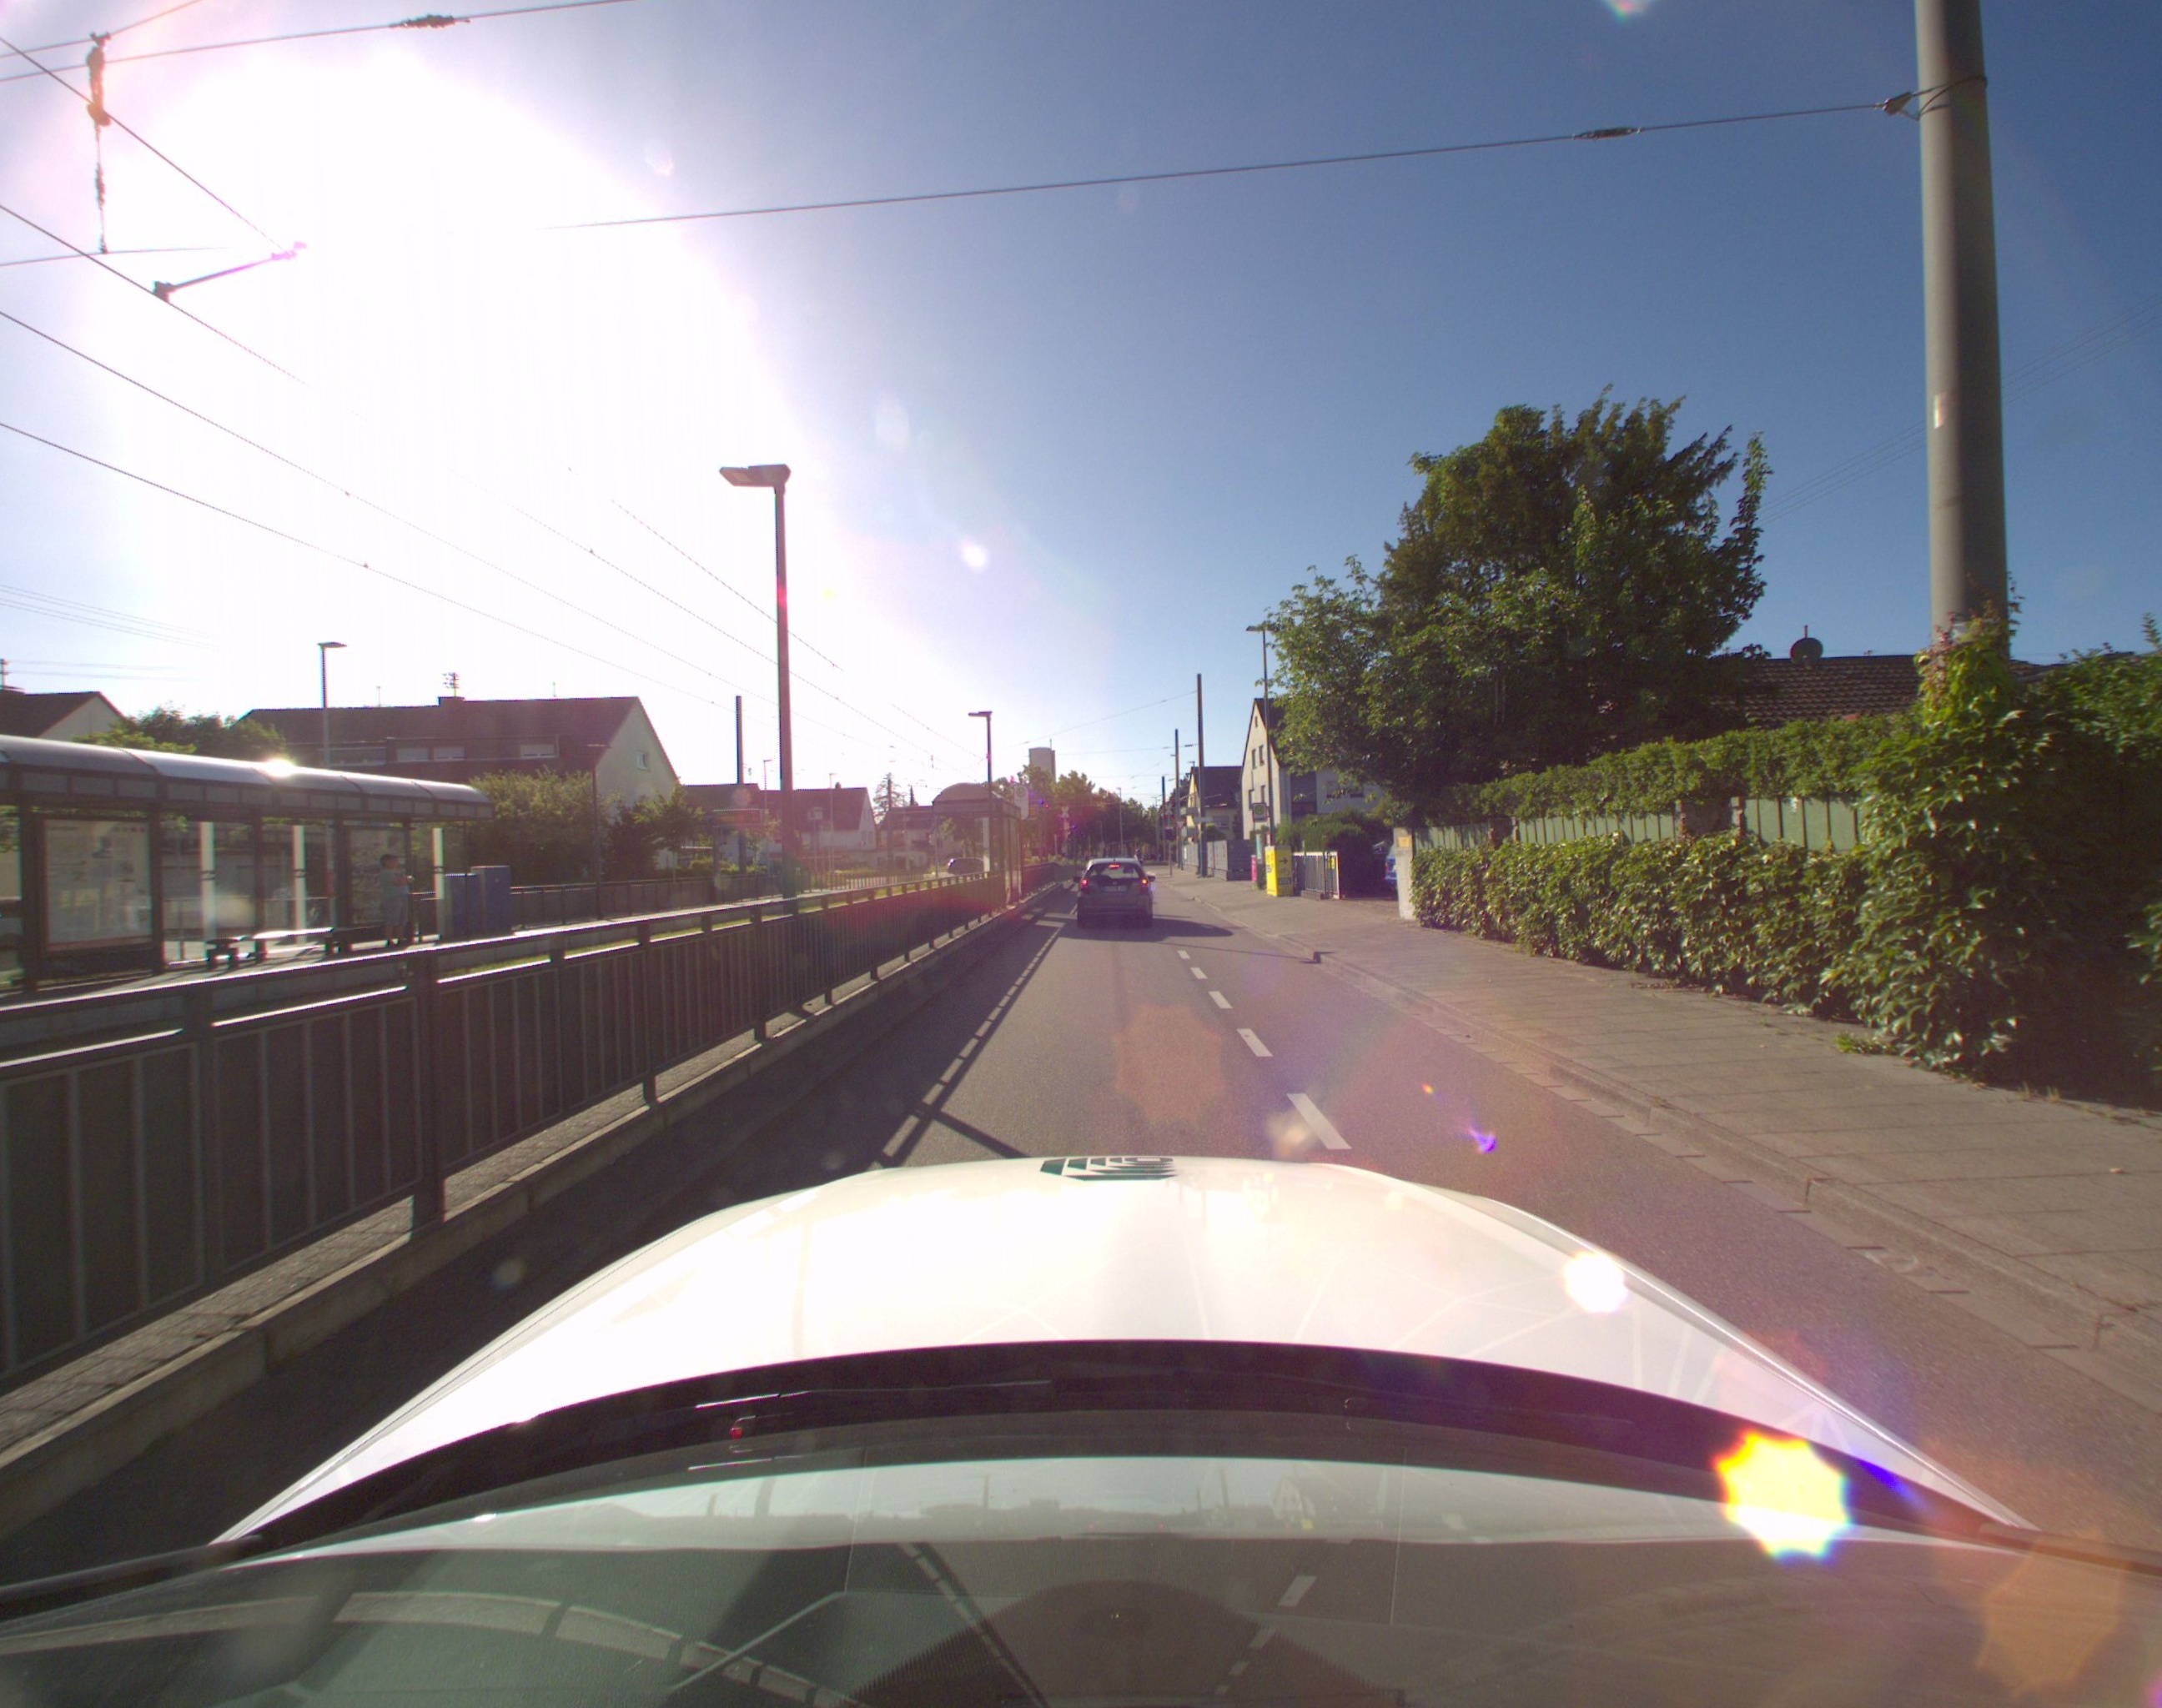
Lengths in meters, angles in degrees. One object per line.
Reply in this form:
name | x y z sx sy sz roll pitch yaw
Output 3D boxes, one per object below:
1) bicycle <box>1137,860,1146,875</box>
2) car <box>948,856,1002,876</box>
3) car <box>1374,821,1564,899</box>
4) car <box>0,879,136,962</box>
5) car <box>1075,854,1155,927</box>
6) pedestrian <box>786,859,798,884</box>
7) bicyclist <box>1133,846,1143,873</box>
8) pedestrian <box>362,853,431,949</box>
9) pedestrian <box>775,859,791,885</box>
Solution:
bicycle | 3.895 0.885 52.530 0.473 0.961 1.658 0 -1 2
car | -8.485 0.968 65.504 3.965 1.529 1.812 -1 -1 7
car | 9.296 0.145 19.663 3.758 1.569 1.747 -4 0 -8
car | -25.030 1.510 18.871 3.839 1.806 1.796 0 -1 -6
car | 0.761 0.770 18.947 1.664 1.535 3.488 -1 0 1
pedestrian | -20.345 1.254 57.323 0.591 1.732 0.689 -2 0 0
bicyclist | 3.676 0.344 52.362 0.596 1.701 0.684 0 -1 2
pedestrian | -12.654 0.844 15.074 0.498 1.696 0.772 -4 0 2
pedestrian | -20.547 1.260 56.170 0.726 1.762 0.772 -2 0 0
